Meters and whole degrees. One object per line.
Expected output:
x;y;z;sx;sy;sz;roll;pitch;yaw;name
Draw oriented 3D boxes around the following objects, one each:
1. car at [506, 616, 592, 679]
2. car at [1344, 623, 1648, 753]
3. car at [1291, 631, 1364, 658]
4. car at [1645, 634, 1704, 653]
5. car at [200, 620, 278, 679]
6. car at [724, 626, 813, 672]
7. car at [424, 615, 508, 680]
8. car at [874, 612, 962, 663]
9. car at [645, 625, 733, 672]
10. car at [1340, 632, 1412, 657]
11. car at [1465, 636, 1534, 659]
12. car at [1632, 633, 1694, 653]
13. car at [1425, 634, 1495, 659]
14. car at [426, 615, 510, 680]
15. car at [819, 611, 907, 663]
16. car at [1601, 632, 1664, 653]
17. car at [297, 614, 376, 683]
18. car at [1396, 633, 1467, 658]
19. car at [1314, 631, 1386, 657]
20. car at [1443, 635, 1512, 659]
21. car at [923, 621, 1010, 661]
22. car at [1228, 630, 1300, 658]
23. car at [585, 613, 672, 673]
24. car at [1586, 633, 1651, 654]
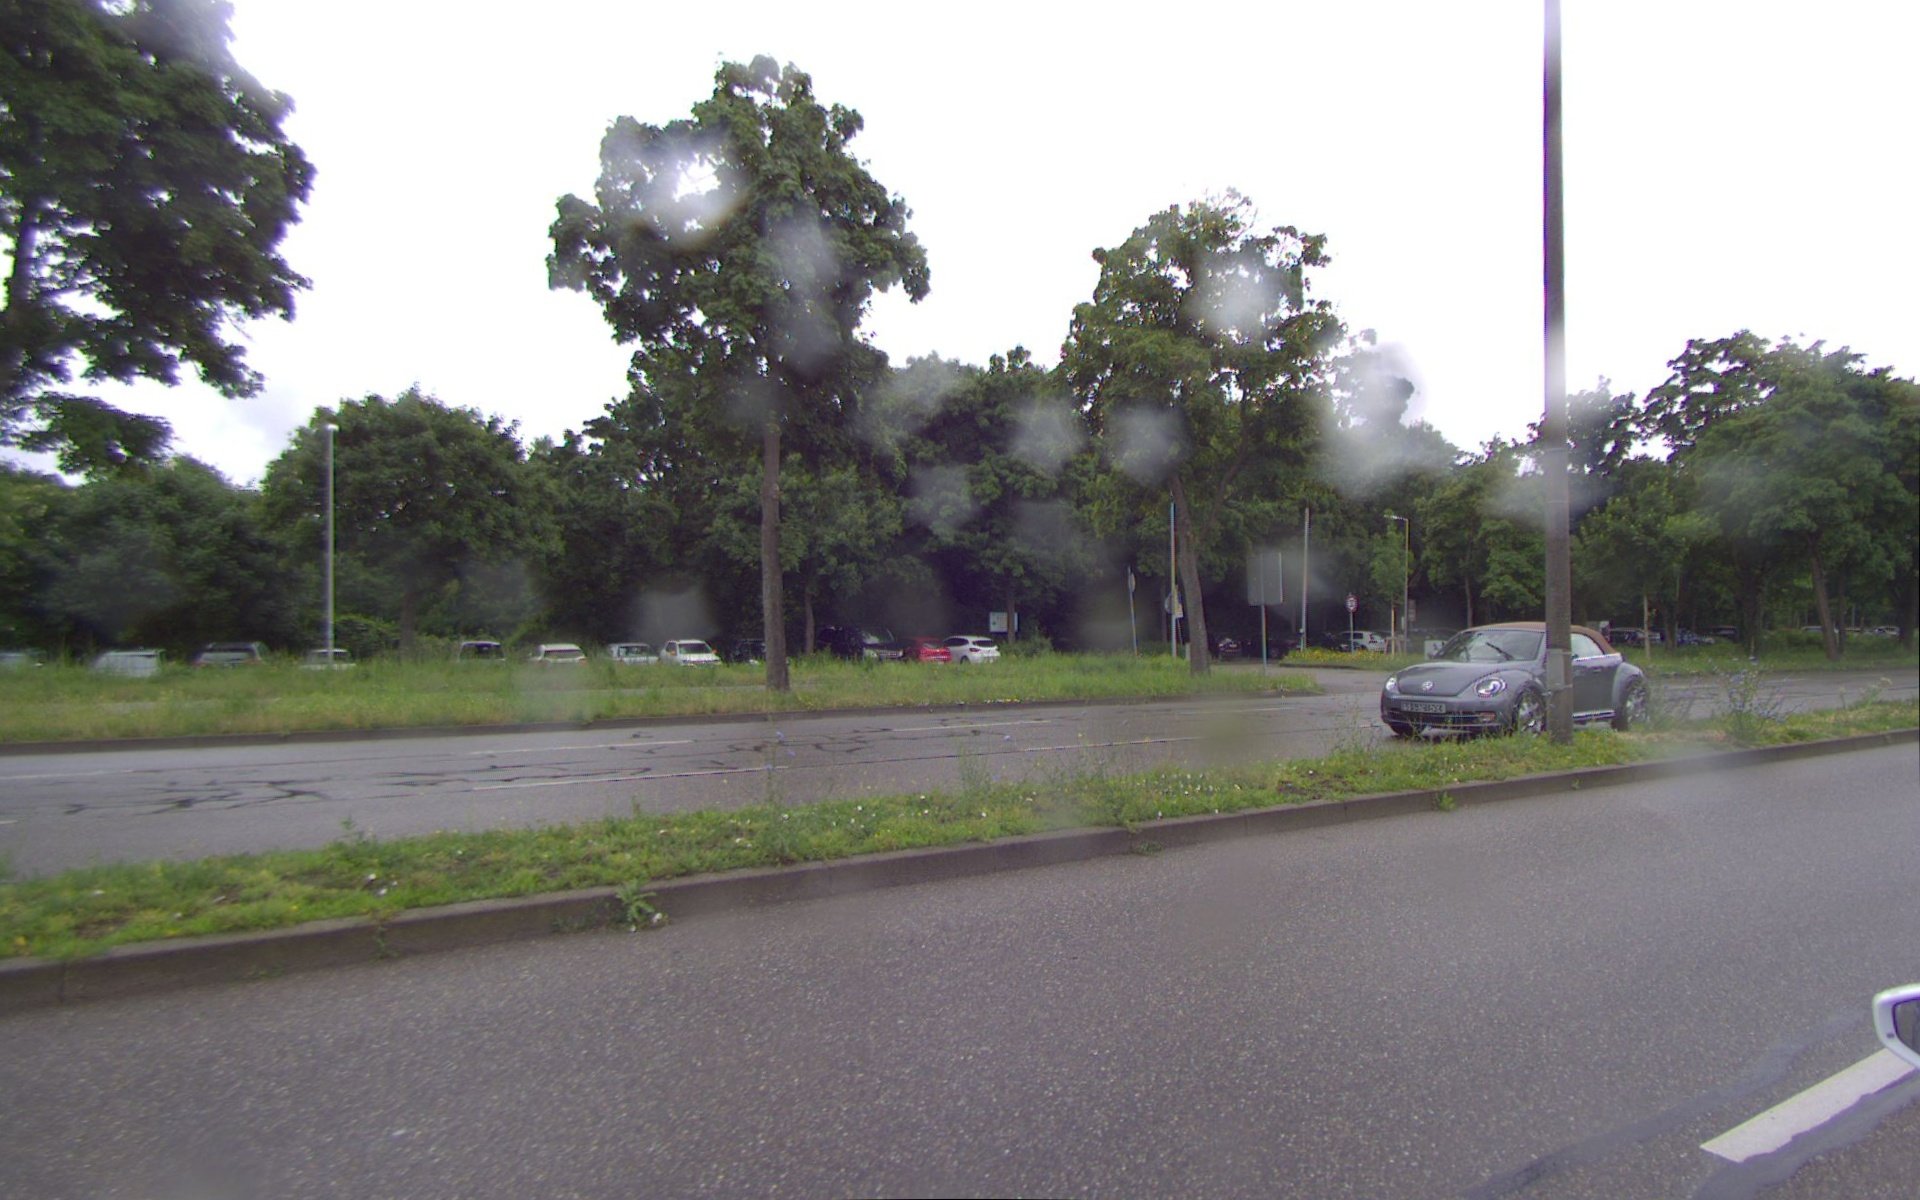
-14.413;1.614;35.117;1.980;2.040;3.962;1;-2;-34;car
7.045;1.053;13.160;3.764;1.469;1.819;1;-1;-30;car
21.088;2.519;57.811;1.509;1.471;3.811;1;-2;-34;car
58.500;3.551;82.274;1.515;1.471;3.797;1;-2;-44;car
-21.924;1.464;30.653;1.804;1.661;3.962;1;-2;-34;car
-7.422;1.856;38.716;1.980;1.639;3.962;1;-1;-34;car
-16.583;1.543;33.616;1.980;2.040;3.962;1;-2;-34;car
-1.838;1.569;42.624;1.980;2.040;3.962;1;-2;-34;car
-10.170;1.772;37.550;1.980;1.639;3.962;1;-1;-34;car
25.167;2.674;60.870;1.509;1.471;3.811;1;-2;-34;car
36.087;3.159;67.295;1.509;1.471;3.811;1;-2;-34;car
54.833;3.328;78.404;1.515;1.471;3.797;1;-2;-44;car
32.023;2.962;64.401;1.509;1.471;3.811;1;-2;-34;car
-16.536;1.549;33.663;1.980;2.040;3.962;1;-2;-34;car
-4.029;1.500;41.352;1.980;2.040;3.962;1;-2;-34;car
50.926;3.205;76.103;1.515;1.471;3.797;1;-2;-44;car
-19.941;1.485;32.048;1.980;2.040;3.962;1;-2;-34;car
29.692;2.844;63.318;1.509;1.471;3.811;1;-2;-34;car
22.998;2.576;59.333;1.509;1.471;3.811;1;-2;-34;car
33.908;3.049;65.917;1.509;1.471;3.811;1;-2;-34;car
0.235;1.767;43.854;1.892;1.661;3.962;1;-2;-34;car
16.672;2.371;55.189;1.473;1.445;3.711;1;-2;-34;car
-11.983;1.500;36.152;1.980;2.040;3.962;1;-2;-34;car
48.988;3.214;74.771;1.513;1.471;3.802;1;-2;-41;car
